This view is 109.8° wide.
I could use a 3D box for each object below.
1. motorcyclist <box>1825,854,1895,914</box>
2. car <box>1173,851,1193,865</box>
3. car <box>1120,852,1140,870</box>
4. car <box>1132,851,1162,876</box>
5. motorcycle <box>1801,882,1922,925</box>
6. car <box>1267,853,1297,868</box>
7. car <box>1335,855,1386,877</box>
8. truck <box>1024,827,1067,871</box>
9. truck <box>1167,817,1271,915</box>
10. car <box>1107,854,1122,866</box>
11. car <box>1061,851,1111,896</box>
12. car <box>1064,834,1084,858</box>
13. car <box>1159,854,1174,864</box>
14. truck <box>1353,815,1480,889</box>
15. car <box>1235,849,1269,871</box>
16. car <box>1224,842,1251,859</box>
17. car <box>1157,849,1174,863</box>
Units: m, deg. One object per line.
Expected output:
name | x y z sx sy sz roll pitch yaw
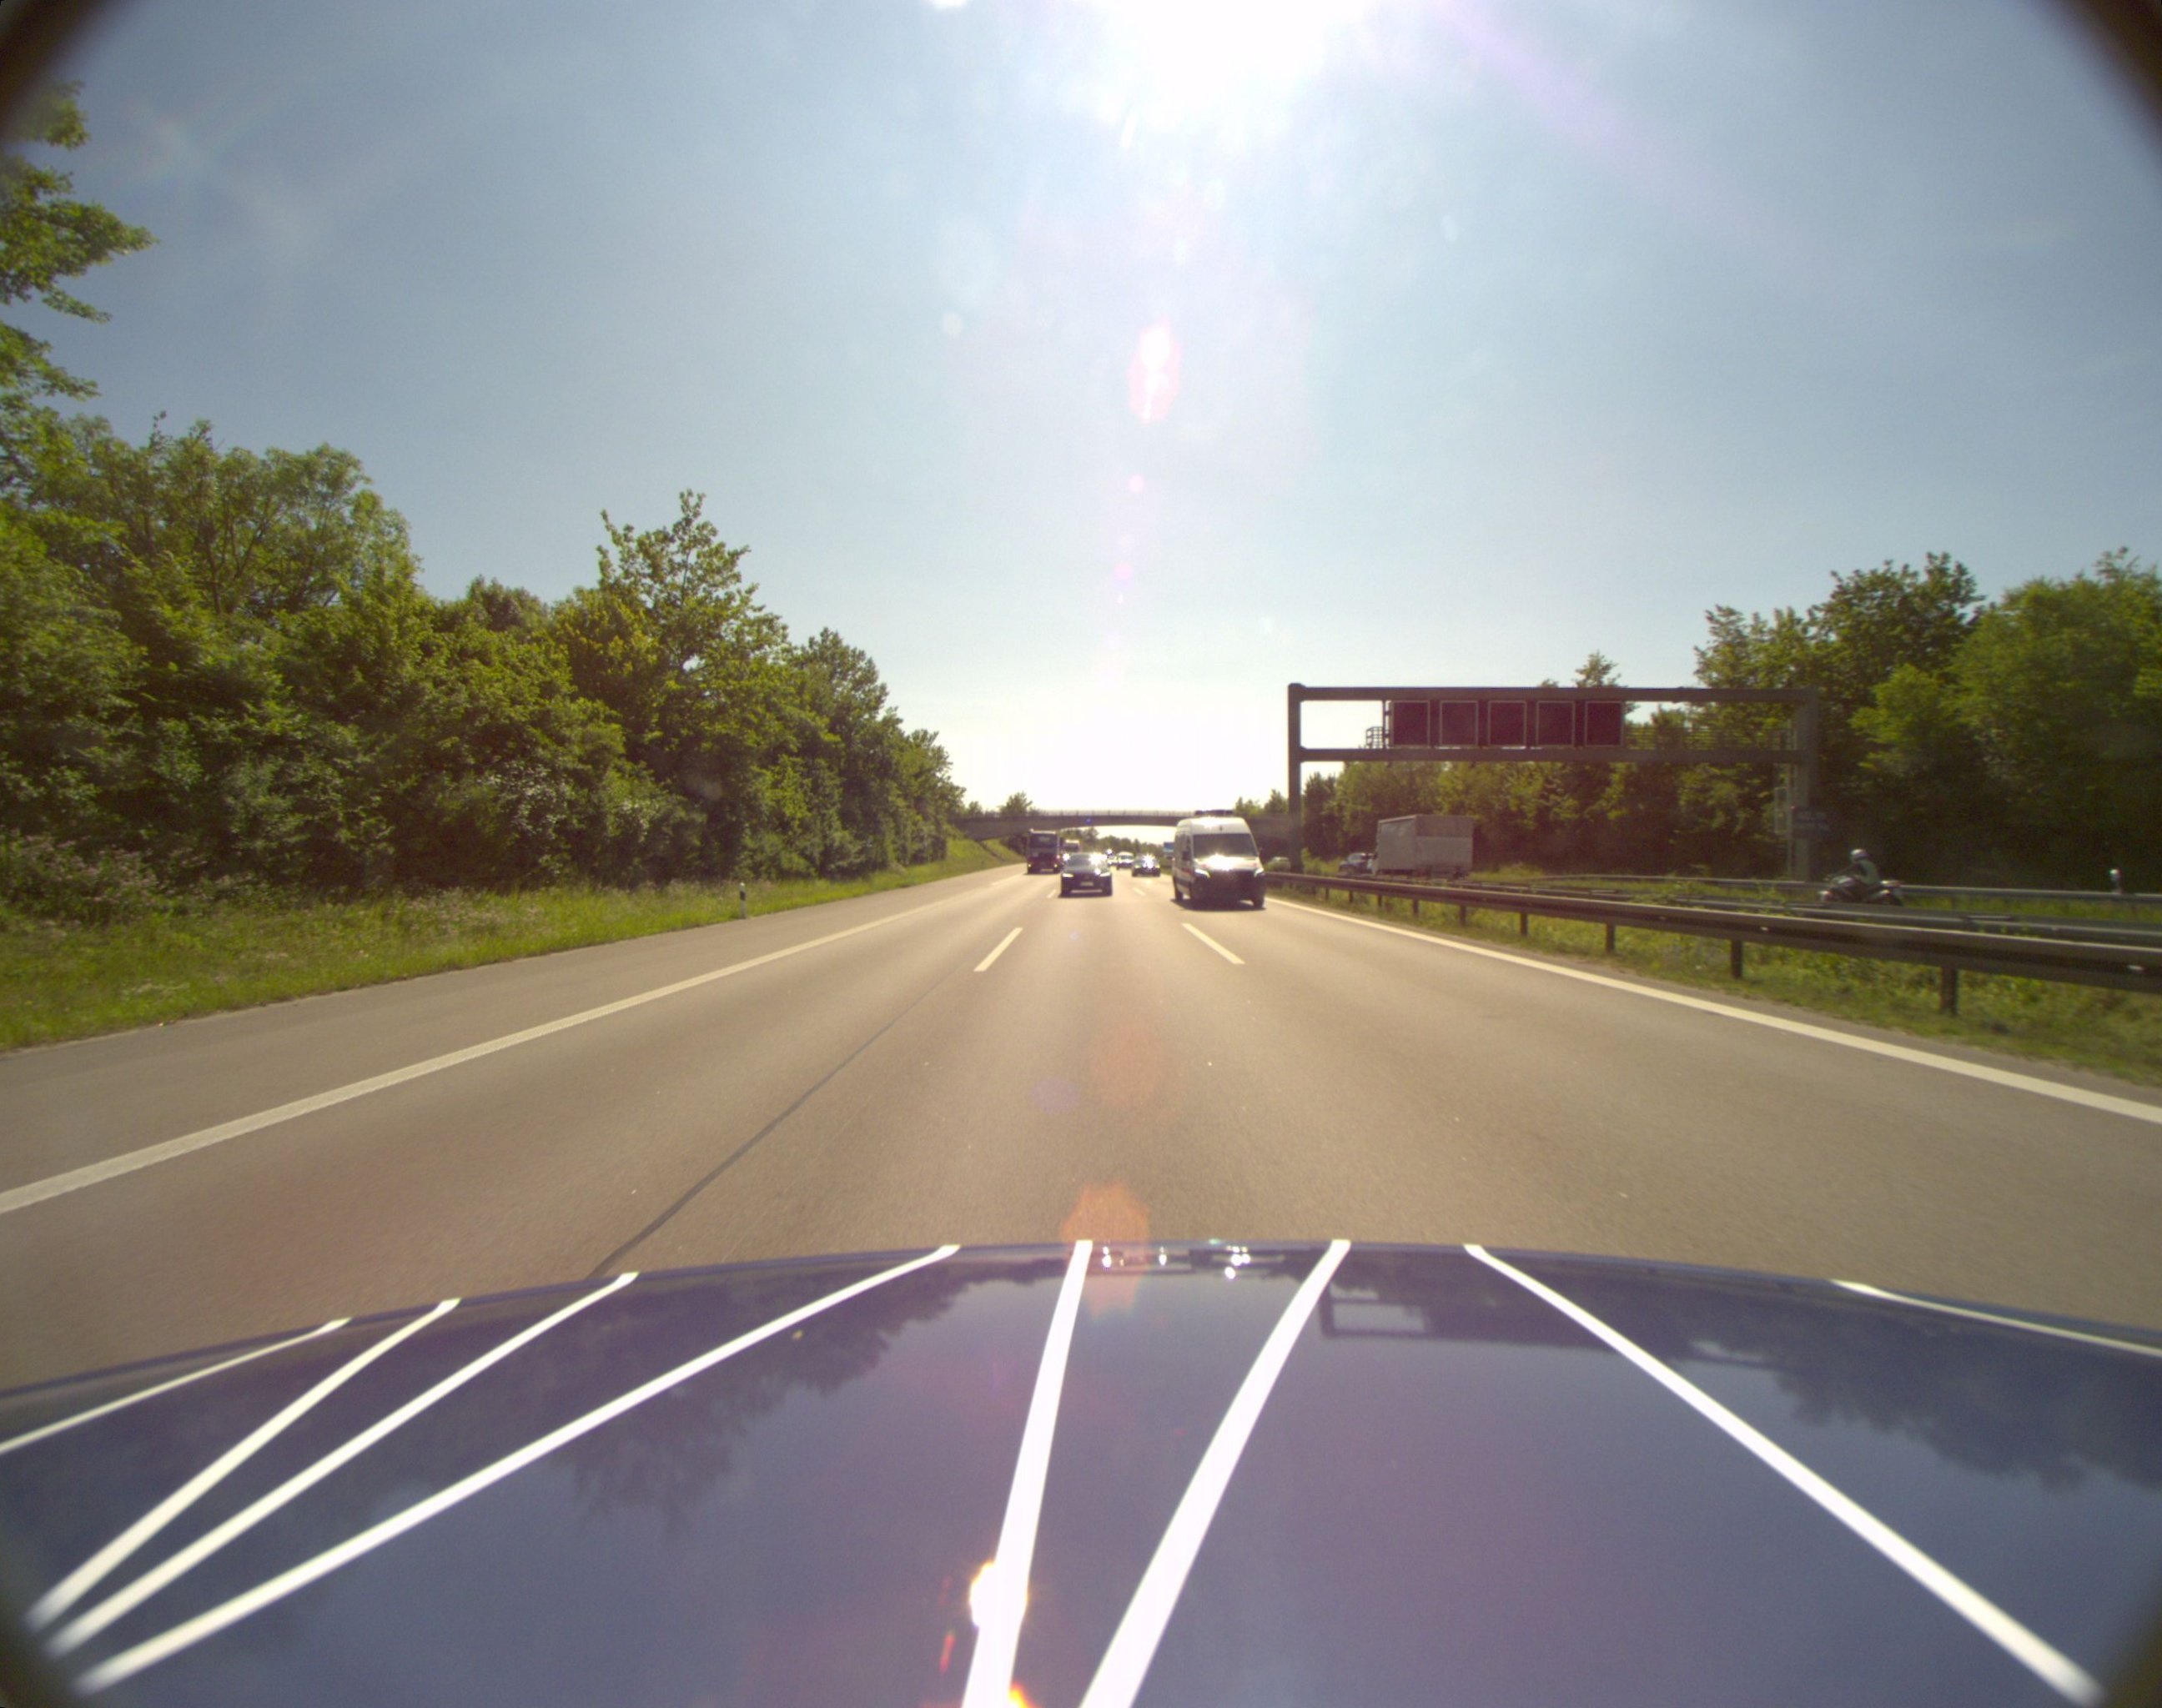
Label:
motorcyclist | 19.745 0.740 19.280 0.807 1.491 0.931 0 1 1
car | 13.279 0.513 99.307 1.911 1.697 5.196 2 0 1
car | 5.005 0.702 77.837 1.870 1.713 3.980 0 1 1
car | 4.567 0.638 52.901 1.904 1.616 4.241 -1 0 2
motorcycle | 19.742 1.224 19.313 0.807 0.940 2.222 0 0 1
car | 20.877 0.631 79.075 1.998 1.434 4.532 0 1 0
car | 20.257 0.840 55.321 1.907 1.456 5.065 1 0 0
truck | -2.804 -0.407 62.331 2.965 3.388 8.047 1 0 1
truck | 4.020 0.332 23.358 1.998 2.527 6.692 -2 0 1
car | 4.499 0.836 102.495 1.998 1.540 4.000 0 1 3
car | 0.212 0.695 29.515 1.812 1.648 4.000 0 0 1
car | -1.228 -1.389 133.337 3.202 3.997 8.126 1 0 1
car | 13.349 0.758 119.197 1.838 1.513 4.855 2 0 1
truck | 16.395 -0.144 37.881 2.786 3.286 8.056 0 1 0
car | 13.406 0.459 59.692 1.783 1.608 4.060 0 0 1
car | 16.900 -0.392 82.384 1.998 1.794 5.126 0 1 1
car | 18.261 0.469 164.446 2.553 2.952 6.996 1 0 -2
